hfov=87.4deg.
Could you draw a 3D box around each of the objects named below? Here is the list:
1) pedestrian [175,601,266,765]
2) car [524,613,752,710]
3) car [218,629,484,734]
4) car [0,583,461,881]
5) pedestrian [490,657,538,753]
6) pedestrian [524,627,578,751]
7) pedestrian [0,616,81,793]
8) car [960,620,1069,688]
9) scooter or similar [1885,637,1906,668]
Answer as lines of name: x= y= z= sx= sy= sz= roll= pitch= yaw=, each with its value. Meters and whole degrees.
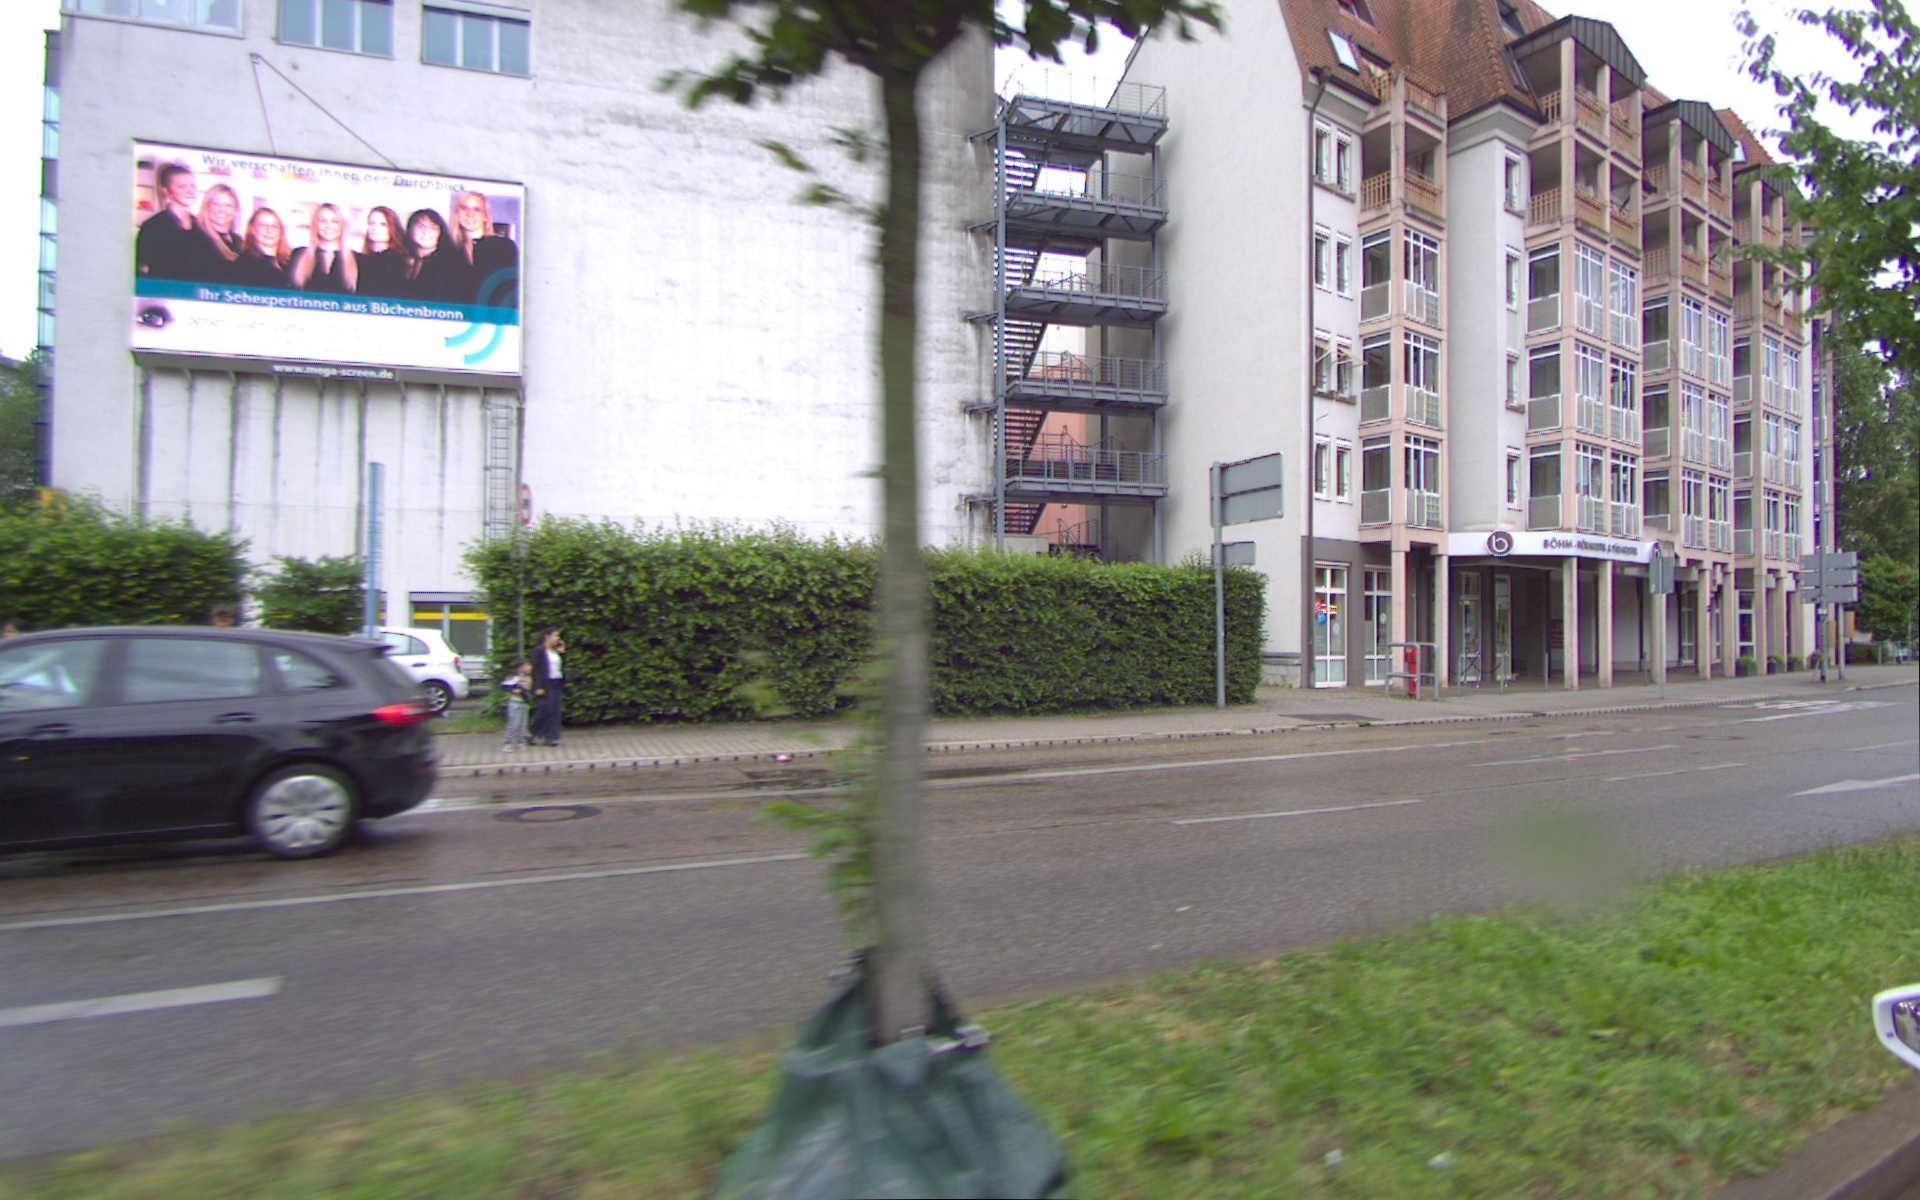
pedestrian: x=-8.329 y=0.928 z=11.340 sx=0.585 sy=1.787 sz=0.639 roll=4 pitch=-3 yaw=-26
car: x=-5.587 y=1.053 z=17.510 sx=3.555 sy=1.530 sz=1.589 roll=2 pitch=-3 yaw=-28
car: x=-10.489 y=1.347 z=17.544 sx=3.792 sy=1.646 sz=1.587 roll=1 pitch=-2 yaw=-31
car: x=-5.809 y=0.836 z=6.903 sx=4.203 sy=1.758 sz=1.822 roll=2 pitch=-4 yaw=-27
pedestrian: x=-5.635 y=1.314 z=12.697 sx=0.496 sy=1.165 sz=0.466 roll=1 pitch=-2 yaw=-31
pedestrian: x=-5.400 y=1.151 z=13.255 sx=0.559 sy=1.580 sz=0.710 roll=1 pitch=-2 yaw=-31
pedestrian: x=-9.712 y=1.072 z=10.503 sx=0.622 sy=1.787 sz=0.525 roll=1 pitch=-2 yaw=-26
car: x=1.440 y=1.479 z=28.163 sx=1.922 sy=1.761 sz=3.988 roll=1 pitch=-2 yaw=-15
scooter or similar: x=42.564 y=2.381 z=45.697 sx=1.558 sy=1.331 sz=0.478 roll=-1 pitch=-1 yaw=-39
